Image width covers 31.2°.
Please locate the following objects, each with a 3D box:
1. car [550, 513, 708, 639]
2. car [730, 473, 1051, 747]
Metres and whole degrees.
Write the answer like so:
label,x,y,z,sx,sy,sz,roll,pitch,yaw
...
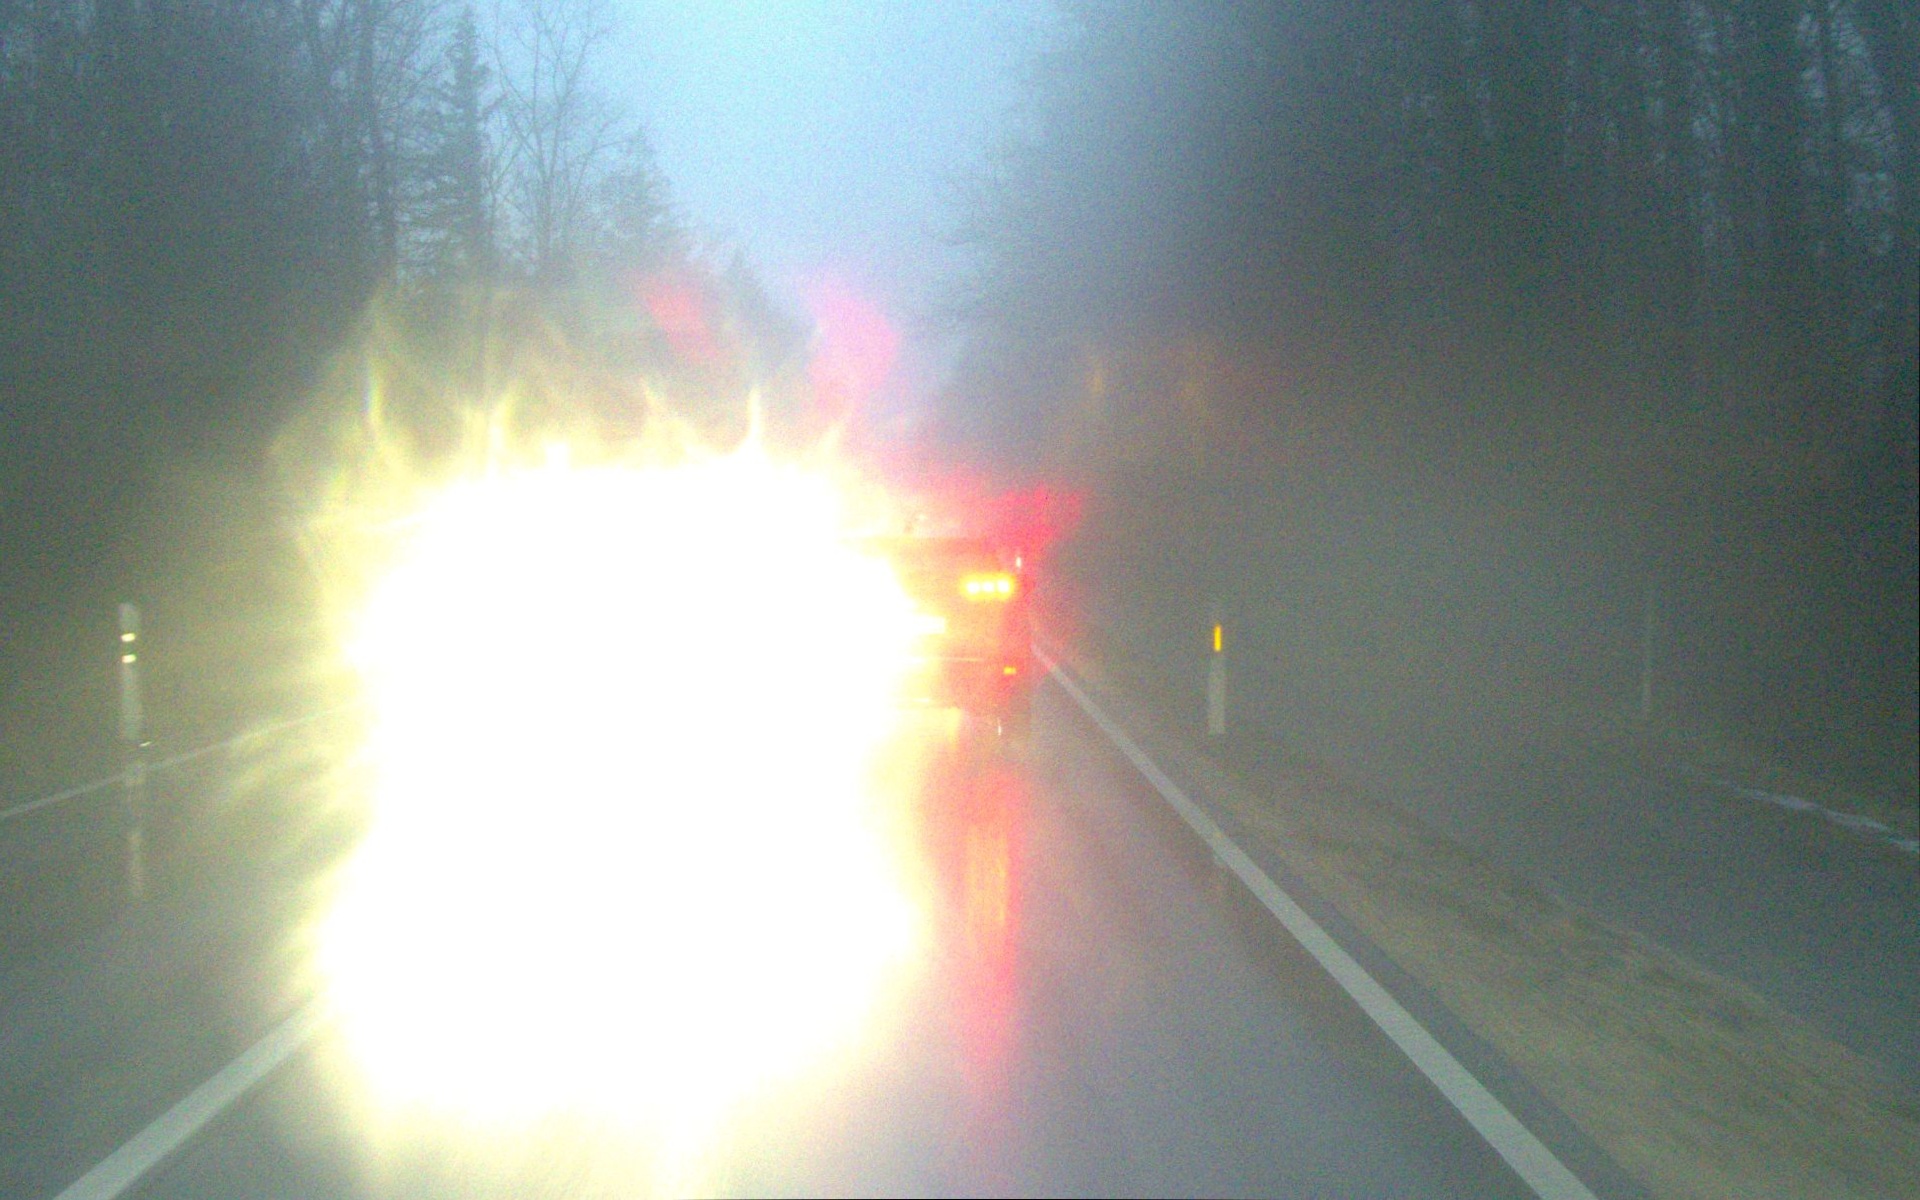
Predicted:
label,x,y,z,sx,sy,sz,roll,pitch,yaw
car,-4.193,-0.336,44.006,1.598,1.490,3.895,-2,1,0
car,-0.530,0.020,26.215,2.198,1.871,4.827,1,1,-1
